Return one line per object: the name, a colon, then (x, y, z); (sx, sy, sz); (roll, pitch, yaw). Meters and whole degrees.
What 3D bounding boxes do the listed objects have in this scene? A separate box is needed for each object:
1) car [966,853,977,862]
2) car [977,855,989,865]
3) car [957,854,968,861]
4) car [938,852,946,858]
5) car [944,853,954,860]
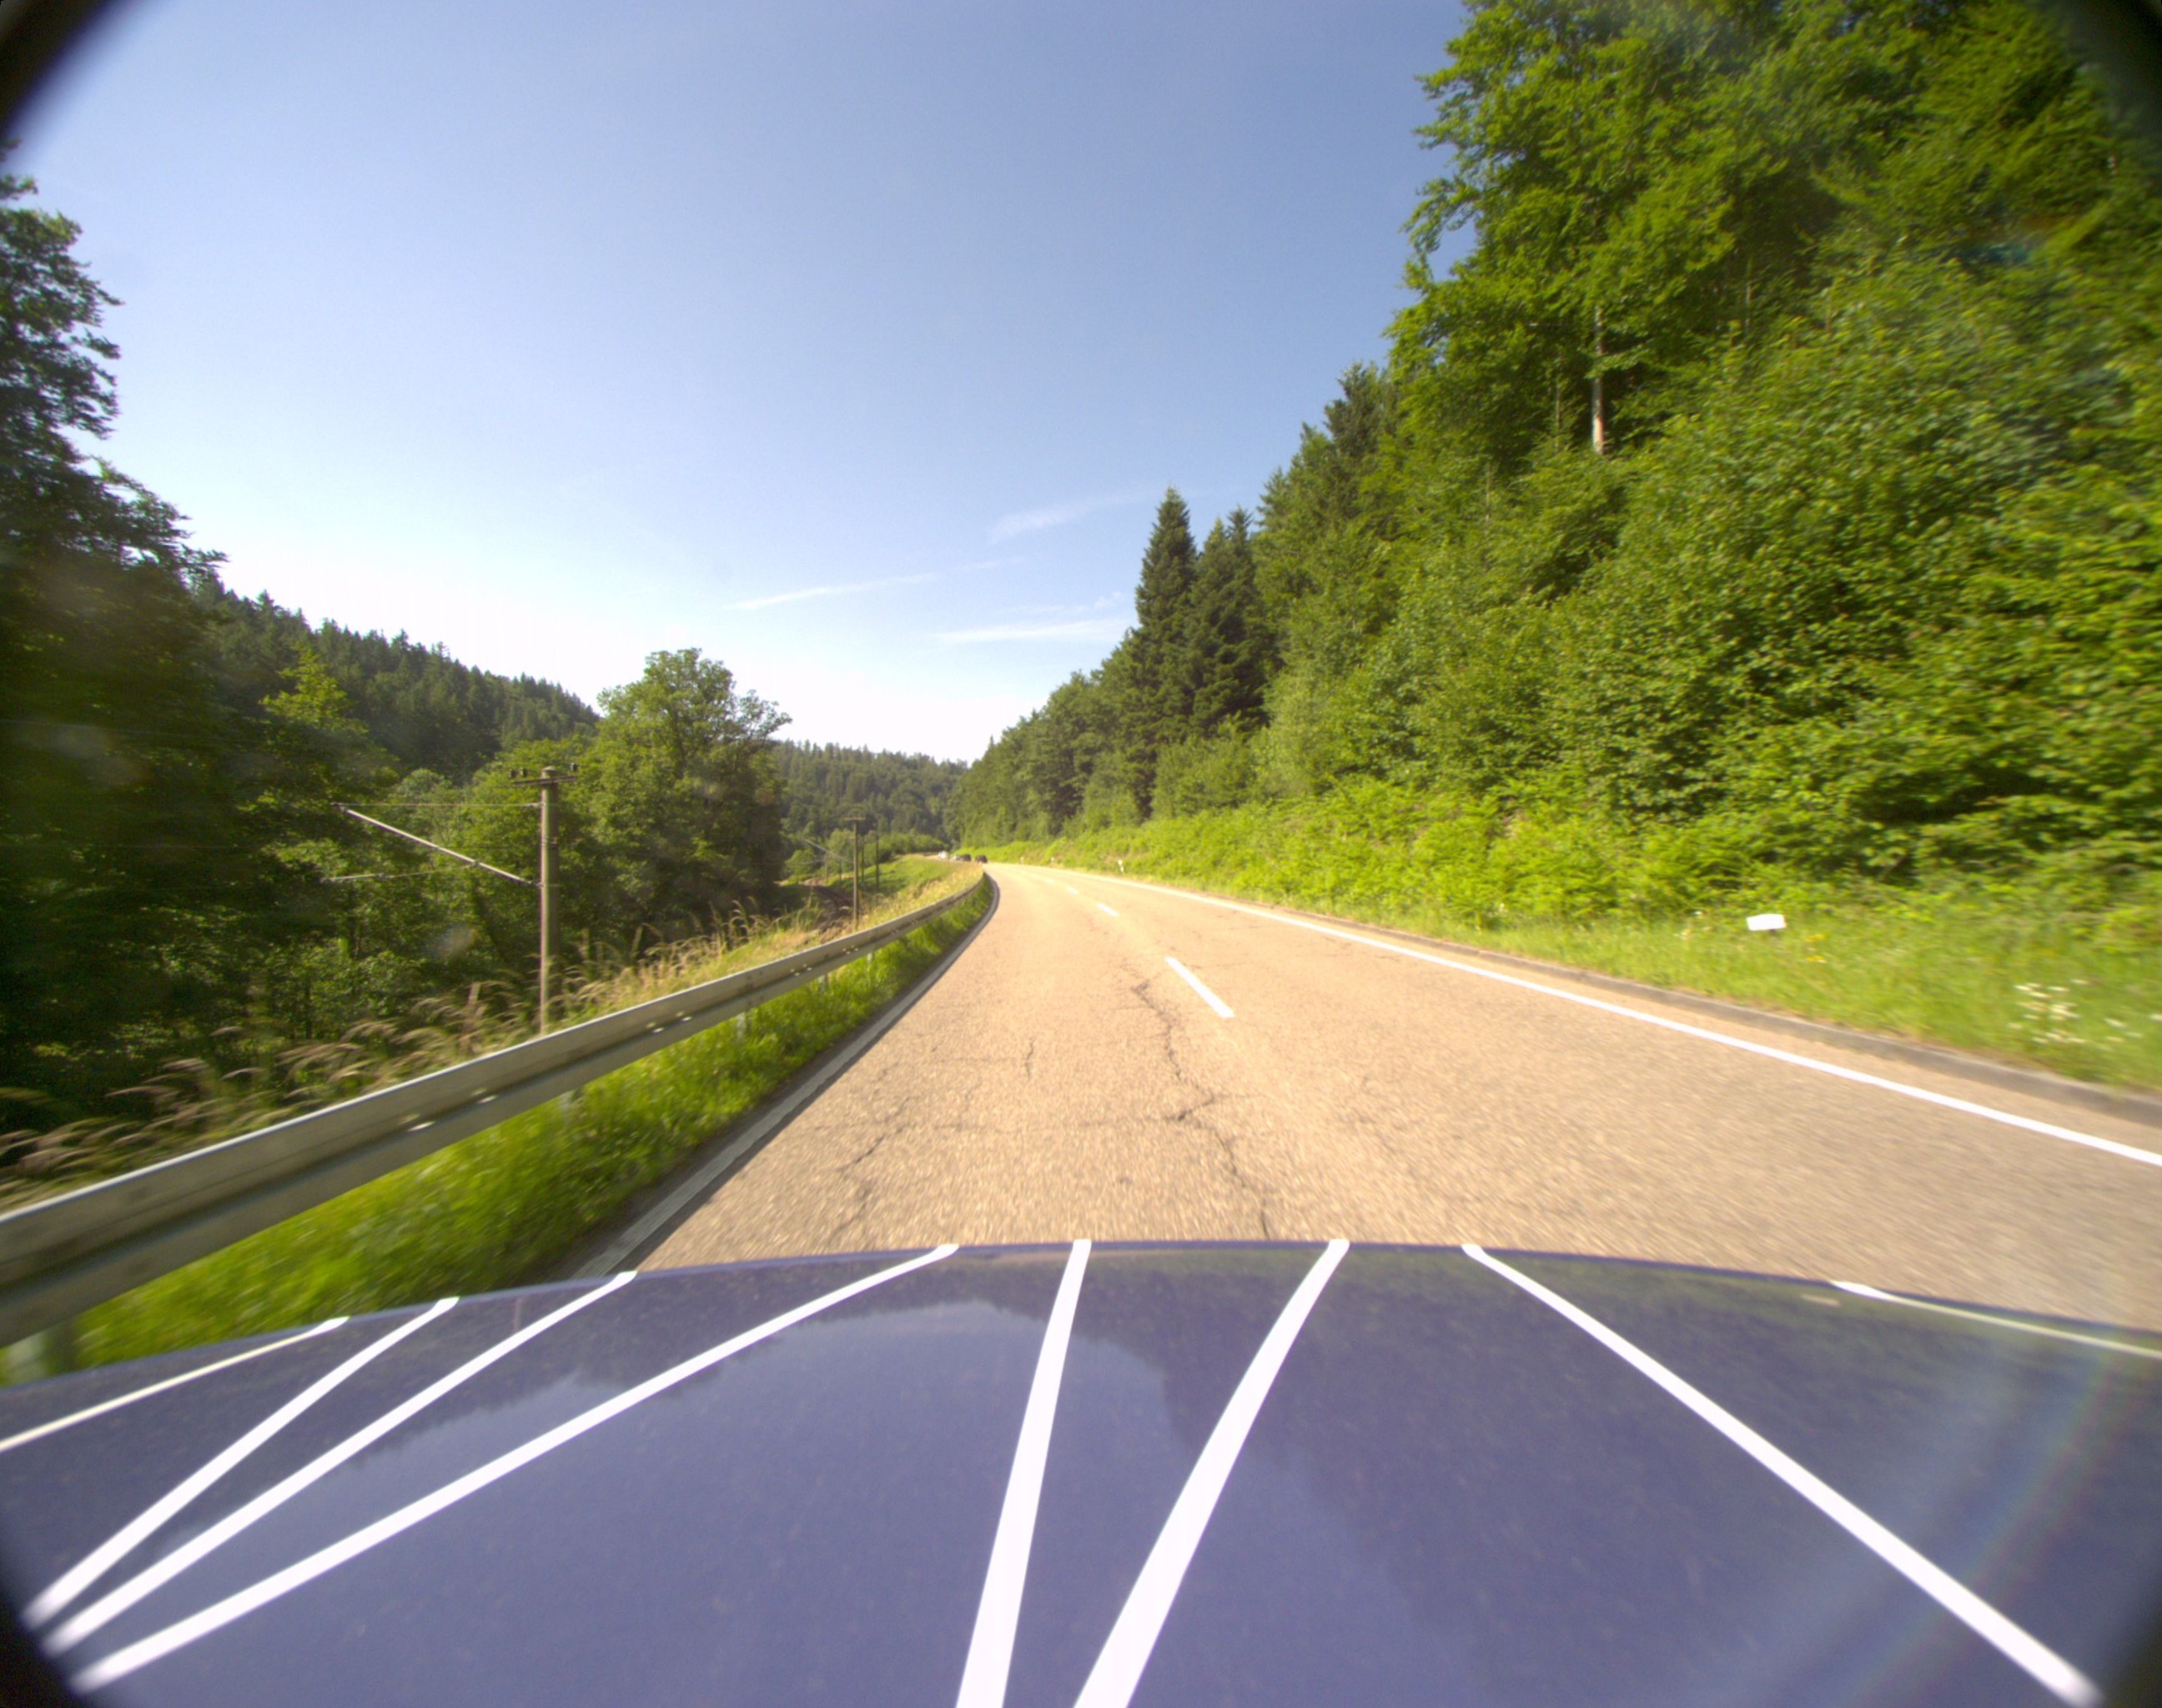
car: (-21.522, 0.689, 149.111); (1.839, 1.619, 4.347); (-2, 0, -12)
car: (-16.722, 1.035, 129.228); (1.864, 1.520, 3.997); (-2, 0, -9)
car: (-25.420, 0.695, 163.066); (1.840, 1.422, 4.673); (-2, 0, -13)
car: (-40.693, 0.206, 221.685); (1.875, 1.614, 4.467); (-2, 0, -15)
car: (-32.924, 0.700, 189.213); (2.001, 1.673, 4.900); (0, 0, -14)
